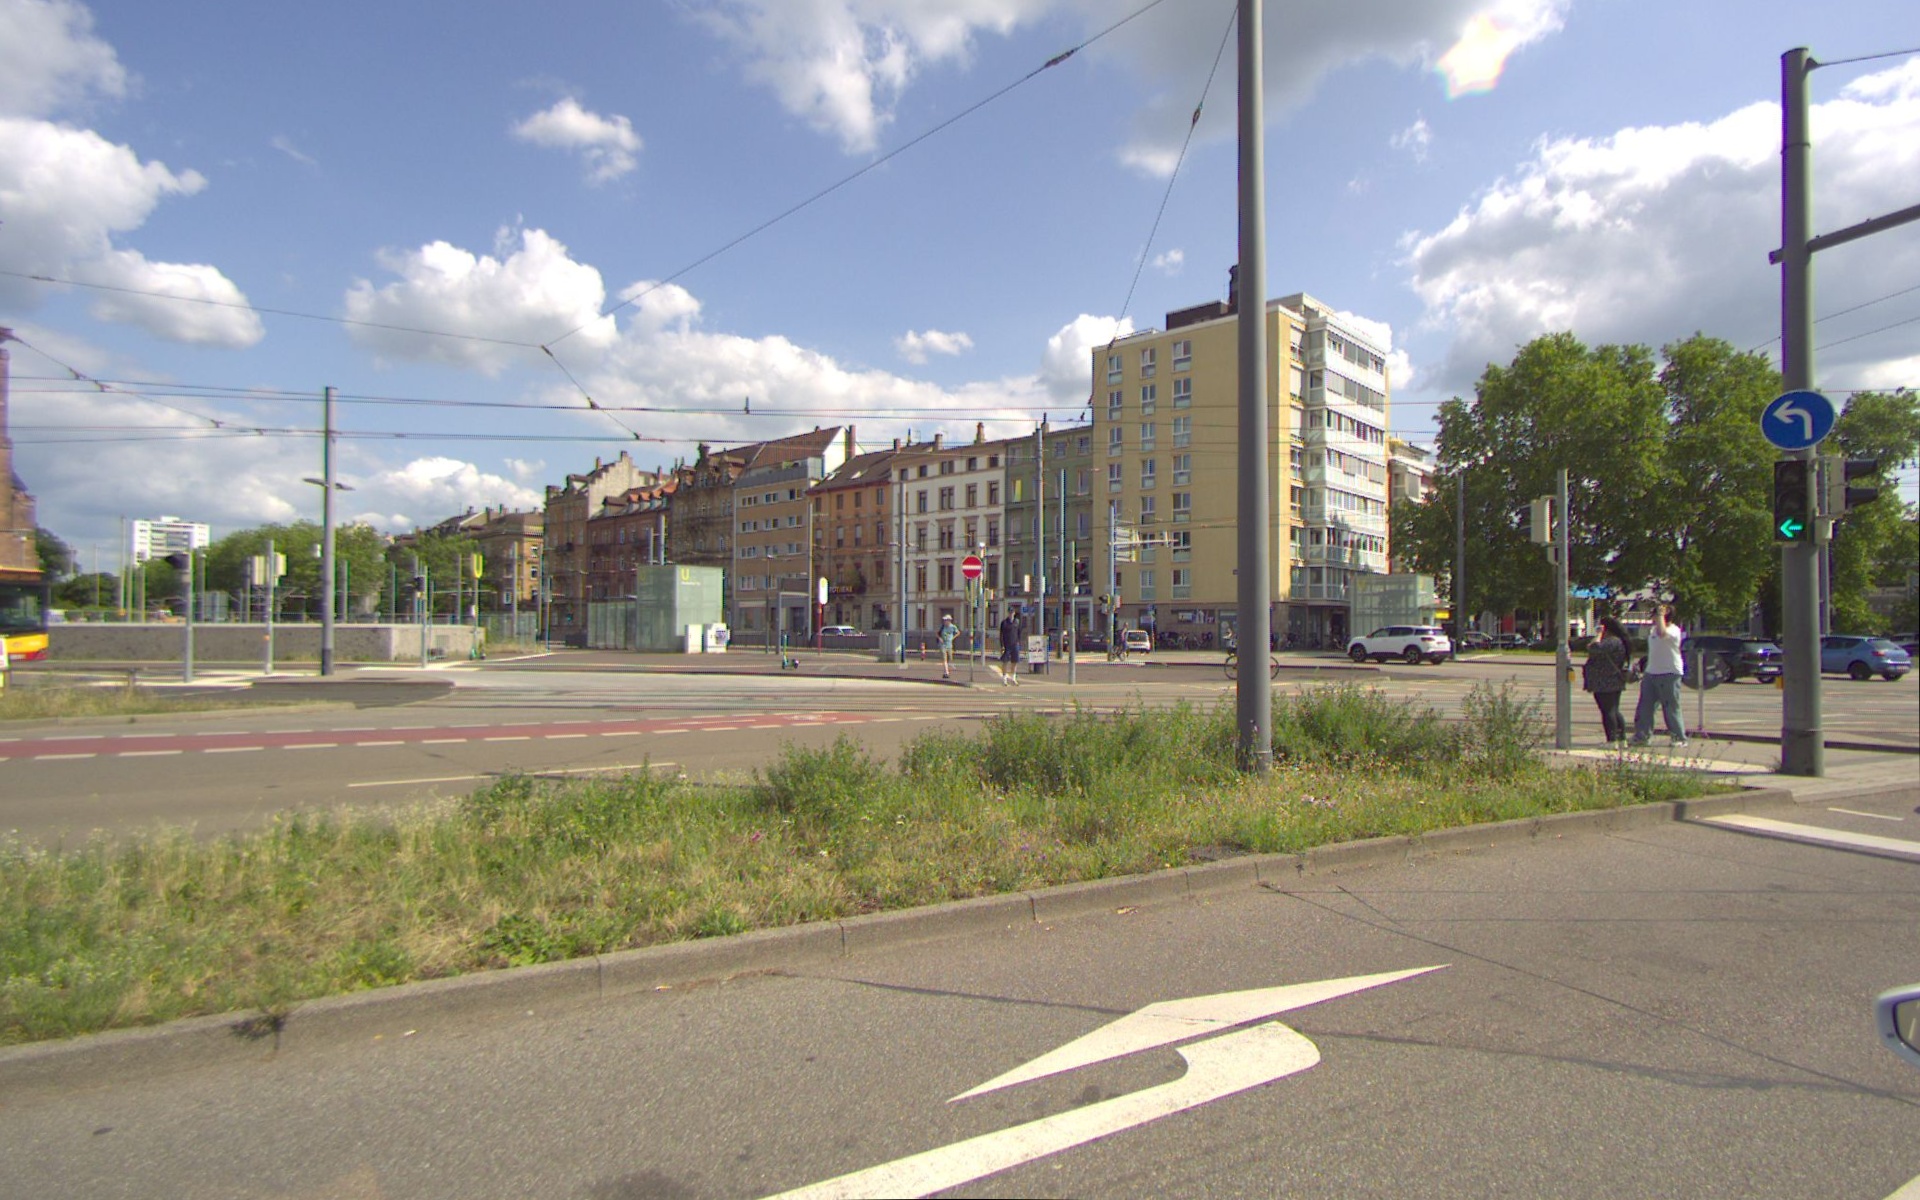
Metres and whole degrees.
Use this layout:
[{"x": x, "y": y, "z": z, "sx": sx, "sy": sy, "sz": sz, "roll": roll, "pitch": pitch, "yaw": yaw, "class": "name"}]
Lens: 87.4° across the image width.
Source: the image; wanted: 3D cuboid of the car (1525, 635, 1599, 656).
[{"x": 40.573, "y": 3.068, "z": 67.774, "sx": 1.617, "sy": 1.344, "sz": 3.961, "roll": 3, "pitch": -3, "yaw": -35, "class": "car"}]

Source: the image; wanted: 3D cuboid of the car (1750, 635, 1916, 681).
[{"x": 29.494, "y": 1.945, "z": 34.089, "sx": 1.713, "sy": 1.395, "sz": 3.987, "roll": 2, "pitch": -1, "yaw": -15, "class": "car"}]

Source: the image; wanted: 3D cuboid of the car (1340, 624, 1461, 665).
[{"x": 19.093, "y": 1.892, "z": 43.766, "sx": 2.023, "sy": 1.599, "sz": 4.501, "roll": 2, "pitch": -1, "yaw": -31, "class": "car"}]

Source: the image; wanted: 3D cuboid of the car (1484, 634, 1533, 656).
[{"x": 36.962, "y": 3.052, "z": 67.647, "sx": 1.886, "sy": 1.432, "sz": 3.976, "roll": -2, "pitch": -4, "yaw": 44, "class": "car"}]

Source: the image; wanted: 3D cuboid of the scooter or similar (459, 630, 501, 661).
[{"x": -18.840, "y": 1.789, "z": 39.432, "sx": 0.836, "sy": 1.120, "sz": 1.646, "roll": 2, "pitch": 0, "yaw": 0, "class": "scooter or similar"}]

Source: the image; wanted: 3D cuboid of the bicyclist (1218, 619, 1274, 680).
[{"x": 8.466, "y": 1.464, "z": 29.768, "sx": 0.985, "sy": 1.753, "sz": 1.288, "roll": 2, "pitch": -3, "yaw": -36, "class": "bicyclist"}]

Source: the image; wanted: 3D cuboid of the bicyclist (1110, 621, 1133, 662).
[{"x": 7.363, "y": 1.877, "z": 45.844, "sx": 0.767, "sy": 1.821, "sz": 0.707, "roll": 2, "pitch": 0, "yaw": 37, "class": "bicyclist"}]

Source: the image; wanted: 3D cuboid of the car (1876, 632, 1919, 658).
[{"x": 75.652, "y": 3.646, "z": 80.963, "sx": 4.194, "sy": 2.040, "sz": 1.979, "roll": 3, "pitch": -4, "yaw": -38, "class": "car"}]

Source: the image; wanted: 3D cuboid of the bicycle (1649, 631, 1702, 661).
[{"x": 37.008, "y": 2.376, "z": 51.981, "sx": 2.144, "sy": 1.433, "sz": 0.808, "roll": 0, "pitch": 0, "yaw": 42, "class": "bicycle"}]

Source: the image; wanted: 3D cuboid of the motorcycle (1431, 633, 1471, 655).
[{"x": 28.916, "y": 2.561, "z": 59.231, "sx": 0.891, "sy": 1.254, "sz": 2.212, "roll": 0, "pitch": -1, "yaw": -15, "class": "motorcycle"}]

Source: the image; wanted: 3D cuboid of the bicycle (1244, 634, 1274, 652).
[{"x": 20.113, "y": 2.875, "z": 67.537, "sx": 1.781, "sy": 1.118, "sz": 0.793, "roll": 0, "pitch": -1, "yaw": 38, "class": "bicycle"}]

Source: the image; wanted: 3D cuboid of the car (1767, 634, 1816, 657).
[{"x": 72.623, "y": 4.009, "z": 87.705, "sx": 5.017, "sy": 1.962, "sz": 1.956, "roll": 3, "pitch": -4, "yaw": -34, "class": "car"}]

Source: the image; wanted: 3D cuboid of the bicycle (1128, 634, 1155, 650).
[{"x": 13.329, "y": 3.067, "z": 73.611, "sx": 1.781, "sy": 1.118, "sz": 0.793, "roll": 0, "pitch": -1, "yaw": 38, "class": "bicycle"}]

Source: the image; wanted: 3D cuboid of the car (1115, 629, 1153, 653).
[{"x": 11.297, "y": 2.686, "z": 65.479, "sx": 1.862, "sy": 1.516, "sz": 3.902, "roll": 1, "pitch": -2, "yaw": 1, "class": "car"}]

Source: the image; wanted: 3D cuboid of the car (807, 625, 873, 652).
[{"x": -7.737, "y": 2.439, "z": 64.509, "sx": 2.030, "sy": 1.661, "sz": 4.231, "roll": 2, "pitch": -2, "yaw": -45, "class": "car"}]

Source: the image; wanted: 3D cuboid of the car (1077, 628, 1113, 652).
[{"x": 8.884, "y": 2.661, "z": 66.288, "sx": 1.862, "sy": 1.516, "sz": 3.901, "roll": 1, "pitch": -2, "yaw": 0, "class": "car"}]

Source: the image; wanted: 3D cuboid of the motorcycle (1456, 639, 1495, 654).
[{"x": 32.266, "y": 2.890, "z": 62.873, "sx": 2.003, "sy": 0.929, "sz": 0.811, "roll": -1, "pitch": -1, "yaw": 3, "class": "motorcycle"}]

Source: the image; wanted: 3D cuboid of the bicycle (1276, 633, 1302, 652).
[{"x": 22.208, "y": 2.850, "z": 67.739, "sx": 1.793, "sy": 1.275, "sz": 0.788, "roll": 2, "pitch": -1, "yaw": -38, "class": "bicycle"}]

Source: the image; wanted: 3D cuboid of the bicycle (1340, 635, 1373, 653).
[{"x": 26.361, "y": 2.920, "z": 66.741, "sx": 1.920, "sy": 1.162, "sz": 0.793, "roll": 0, "pitch": -1, "yaw": 39, "class": "bicycle"}]

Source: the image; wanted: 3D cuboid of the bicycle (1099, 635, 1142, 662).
[{"x": 7.328, "y": 2.197, "z": 45.807, "sx": 0.876, "sy": 1.153, "sz": 2.348, "roll": 2, "pitch": 0, "yaw": 37, "class": "bicycle"}]

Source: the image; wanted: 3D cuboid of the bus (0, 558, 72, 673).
[{"x": -32.794, "y": 0.408, "z": 28.251, "sx": 12.592, "sy": 3.177, "sz": 2.833, "roll": 0, "pitch": -1, "yaw": -3, "class": "bus"}]

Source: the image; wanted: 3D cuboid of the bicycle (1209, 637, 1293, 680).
[{"x": 8.552, "y": 1.708, "z": 29.642, "sx": 0.985, "sy": 1.204, "sz": 2.278, "roll": 2, "pitch": -3, "yaw": -36, "class": "bicycle"}]

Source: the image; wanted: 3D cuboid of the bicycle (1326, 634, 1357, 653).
[{"x": 25.152, "y": 2.860, "z": 66.239, "sx": 1.782, "sy": 1.162, "sz": 0.793, "roll": 0, "pitch": -1, "yaw": 39, "class": "bicycle"}]

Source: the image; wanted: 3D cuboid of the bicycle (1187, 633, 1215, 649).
[{"x": 16.931, "y": 2.880, "z": 70.654, "sx": 1.781, "sy": 1.118, "sz": 0.793, "roll": 0, "pitch": -1, "yaw": 38, "class": "bicycle"}]

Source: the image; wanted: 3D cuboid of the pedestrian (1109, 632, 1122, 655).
[{"x": 10.697, "y": 2.966, "z": 69.025, "sx": 0.689, "sy": 1.554, "sz": 0.553, "roll": -2, "pitch": -3, "yaw": 39, "class": "pedestrian"}]

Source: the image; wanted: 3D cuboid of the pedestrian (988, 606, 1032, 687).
[{"x": 1.231, "y": 1.119, "z": 24.715, "sx": 0.753, "sy": 1.928, "sz": 0.826, "roll": 2, "pitch": 0, "yaw": 25, "class": "pedestrian"}]

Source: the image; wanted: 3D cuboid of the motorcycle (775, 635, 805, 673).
[{"x": -5.767, "y": 1.804, "z": 34.022, "sx": 0.479, "sy": 1.253, "sz": 1.435, "roll": 2, "pitch": -2, "yaw": -31, "class": "motorcycle"}]

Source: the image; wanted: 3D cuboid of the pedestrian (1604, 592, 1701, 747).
[{"x": 9.022, "y": 0.890, "z": 13.101, "sx": 0.685, "sy": 1.942, "sz": 0.842, "roll": 2, "pitch": -2, "yaw": -34, "class": "pedestrian"}]

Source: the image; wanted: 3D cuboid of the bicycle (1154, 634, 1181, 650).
[{"x": 14.950, "y": 3.041, "z": 72.387, "sx": 1.781, "sy": 1.118, "sz": 0.793, "roll": 0, "pitch": -1, "yaw": 38, "class": "bicycle"}]

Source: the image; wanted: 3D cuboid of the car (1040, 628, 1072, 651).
[{"x": 6.531, "y": 2.715, "z": 68.792, "sx": 1.862, "sy": 1.516, "sz": 3.901, "roll": 1, "pitch": -2, "yaw": 0, "class": "car"}]

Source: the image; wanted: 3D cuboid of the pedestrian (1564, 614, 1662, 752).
[{"x": 8.253, "y": 1.026, "z": 12.713, "sx": 0.685, "sy": 1.669, "sz": 0.842, "roll": 2, "pitch": -2, "yaw": -34, "class": "pedestrian"}]

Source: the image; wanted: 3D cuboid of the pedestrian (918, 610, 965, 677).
[{"x": -0.520, "y": 1.213, "z": 28.082, "sx": 1.016, "sy": 1.821, "sz": 0.761, "roll": 2, "pitch": 0, "yaw": -31, "class": "pedestrian"}]
